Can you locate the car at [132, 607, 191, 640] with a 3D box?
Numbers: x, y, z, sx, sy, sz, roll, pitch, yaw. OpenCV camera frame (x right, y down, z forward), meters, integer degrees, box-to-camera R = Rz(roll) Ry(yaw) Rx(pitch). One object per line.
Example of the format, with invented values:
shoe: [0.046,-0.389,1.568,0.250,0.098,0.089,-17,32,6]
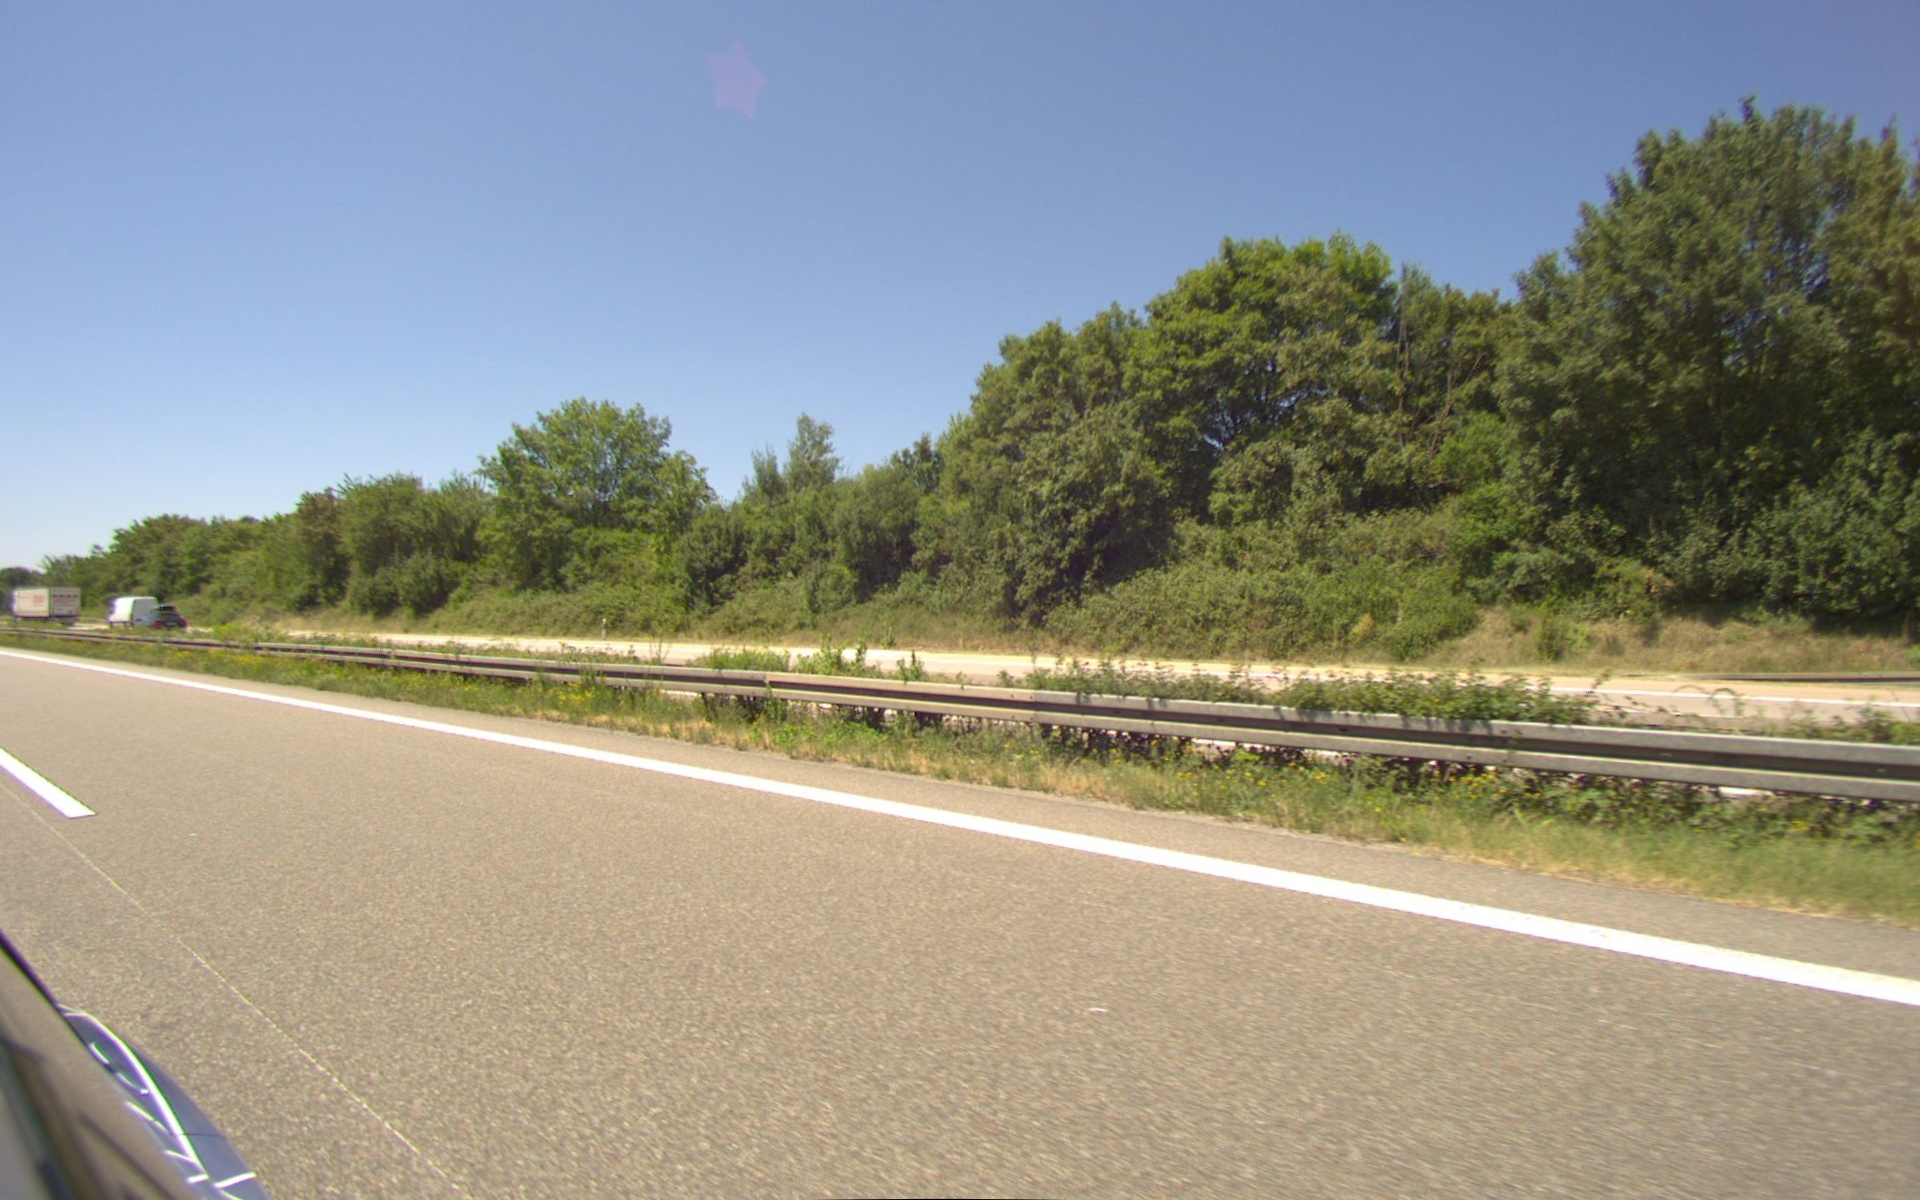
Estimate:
car: [-48.992,1.413,62.070,4.951,1.920,1.808,-1,-1,40]

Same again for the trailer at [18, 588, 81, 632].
trailer: [-92.954,1.085,103.202,13.543,4.216,2.679,-1,-2,39]

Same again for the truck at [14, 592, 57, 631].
truck: [-98.202,1.233,107.486,4.439,3.996,2.675,-1,-2,39]

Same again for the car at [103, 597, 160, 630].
car: [-67.465,1.153,82.390,7.385,2.596,2.206,-1,-2,40]
